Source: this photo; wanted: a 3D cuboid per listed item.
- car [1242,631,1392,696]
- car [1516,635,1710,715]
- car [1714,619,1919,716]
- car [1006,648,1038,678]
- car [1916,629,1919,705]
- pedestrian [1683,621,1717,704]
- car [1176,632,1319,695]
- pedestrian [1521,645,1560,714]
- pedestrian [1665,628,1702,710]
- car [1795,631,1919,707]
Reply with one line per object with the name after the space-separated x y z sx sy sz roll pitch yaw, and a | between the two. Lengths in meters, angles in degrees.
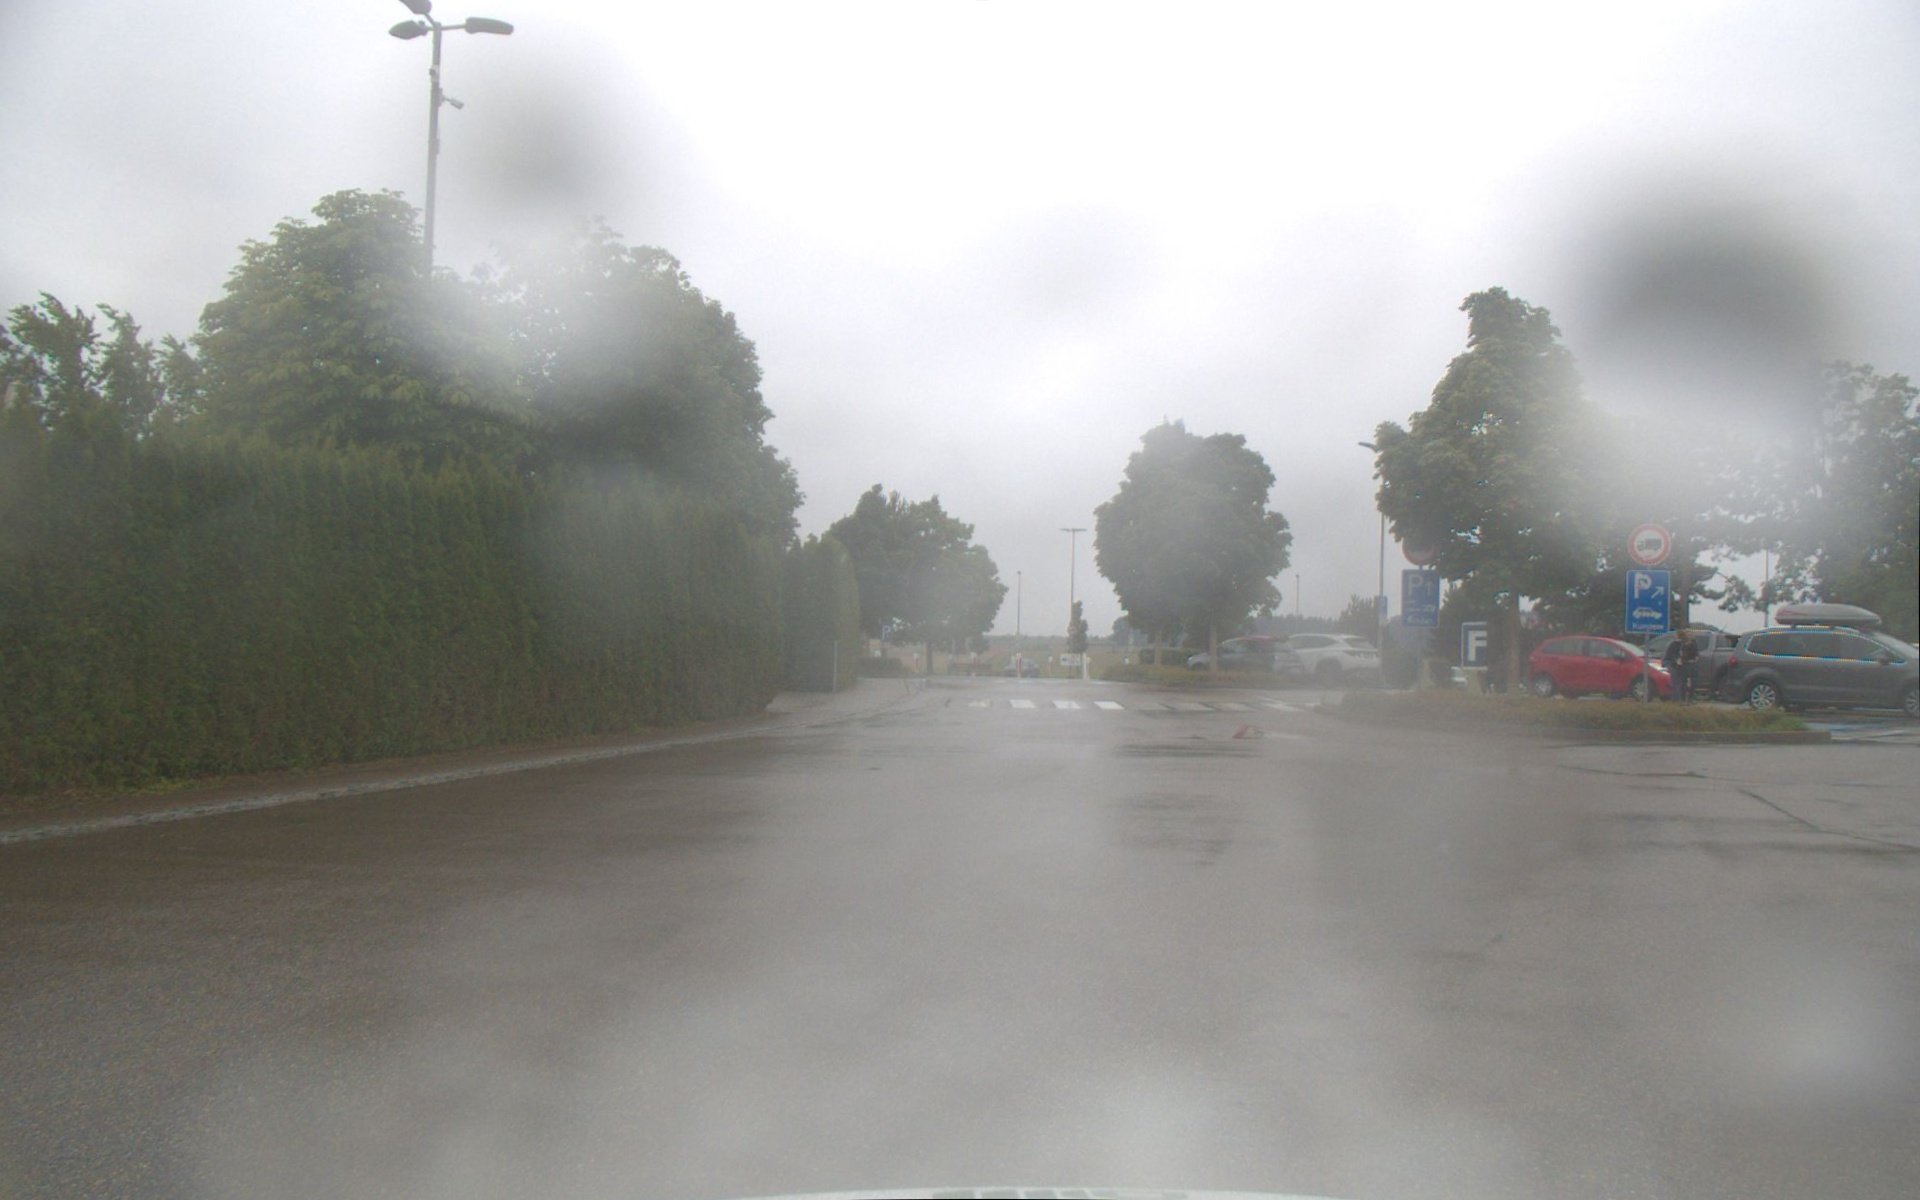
10.927 1.935 50.875 1.707 1.895 4.298 5 -4 -44 | car
15.630 1.748 39.695 1.836 1.824 3.958 2 -2 -44 | car
17.907 1.308 32.969 1.984 1.824 4.871 1 -2 -44 | car
4.691 4.757 124.378 1.667 2.049 4.002 2 -3 13 | car
25.774 1.691 40.299 1.836 1.895 3.958 5 -4 -44 | car
15.960 1.351 35.652 0.598 1.755 0.683 1 -3 28 | pedestrian
8.506 1.871 49.118 1.707 1.746 3.961 5 -4 -44 | car
11.952 1.631 34.052 0.629 1.386 0.452 2 -3 6 | pedestrian
14.955 1.431 34.181 0.699 1.667 0.646 0 -3 25 | pedestrian
20.035 1.435 34.766 1.728 1.544 4.133 1 -1 -42 | car
